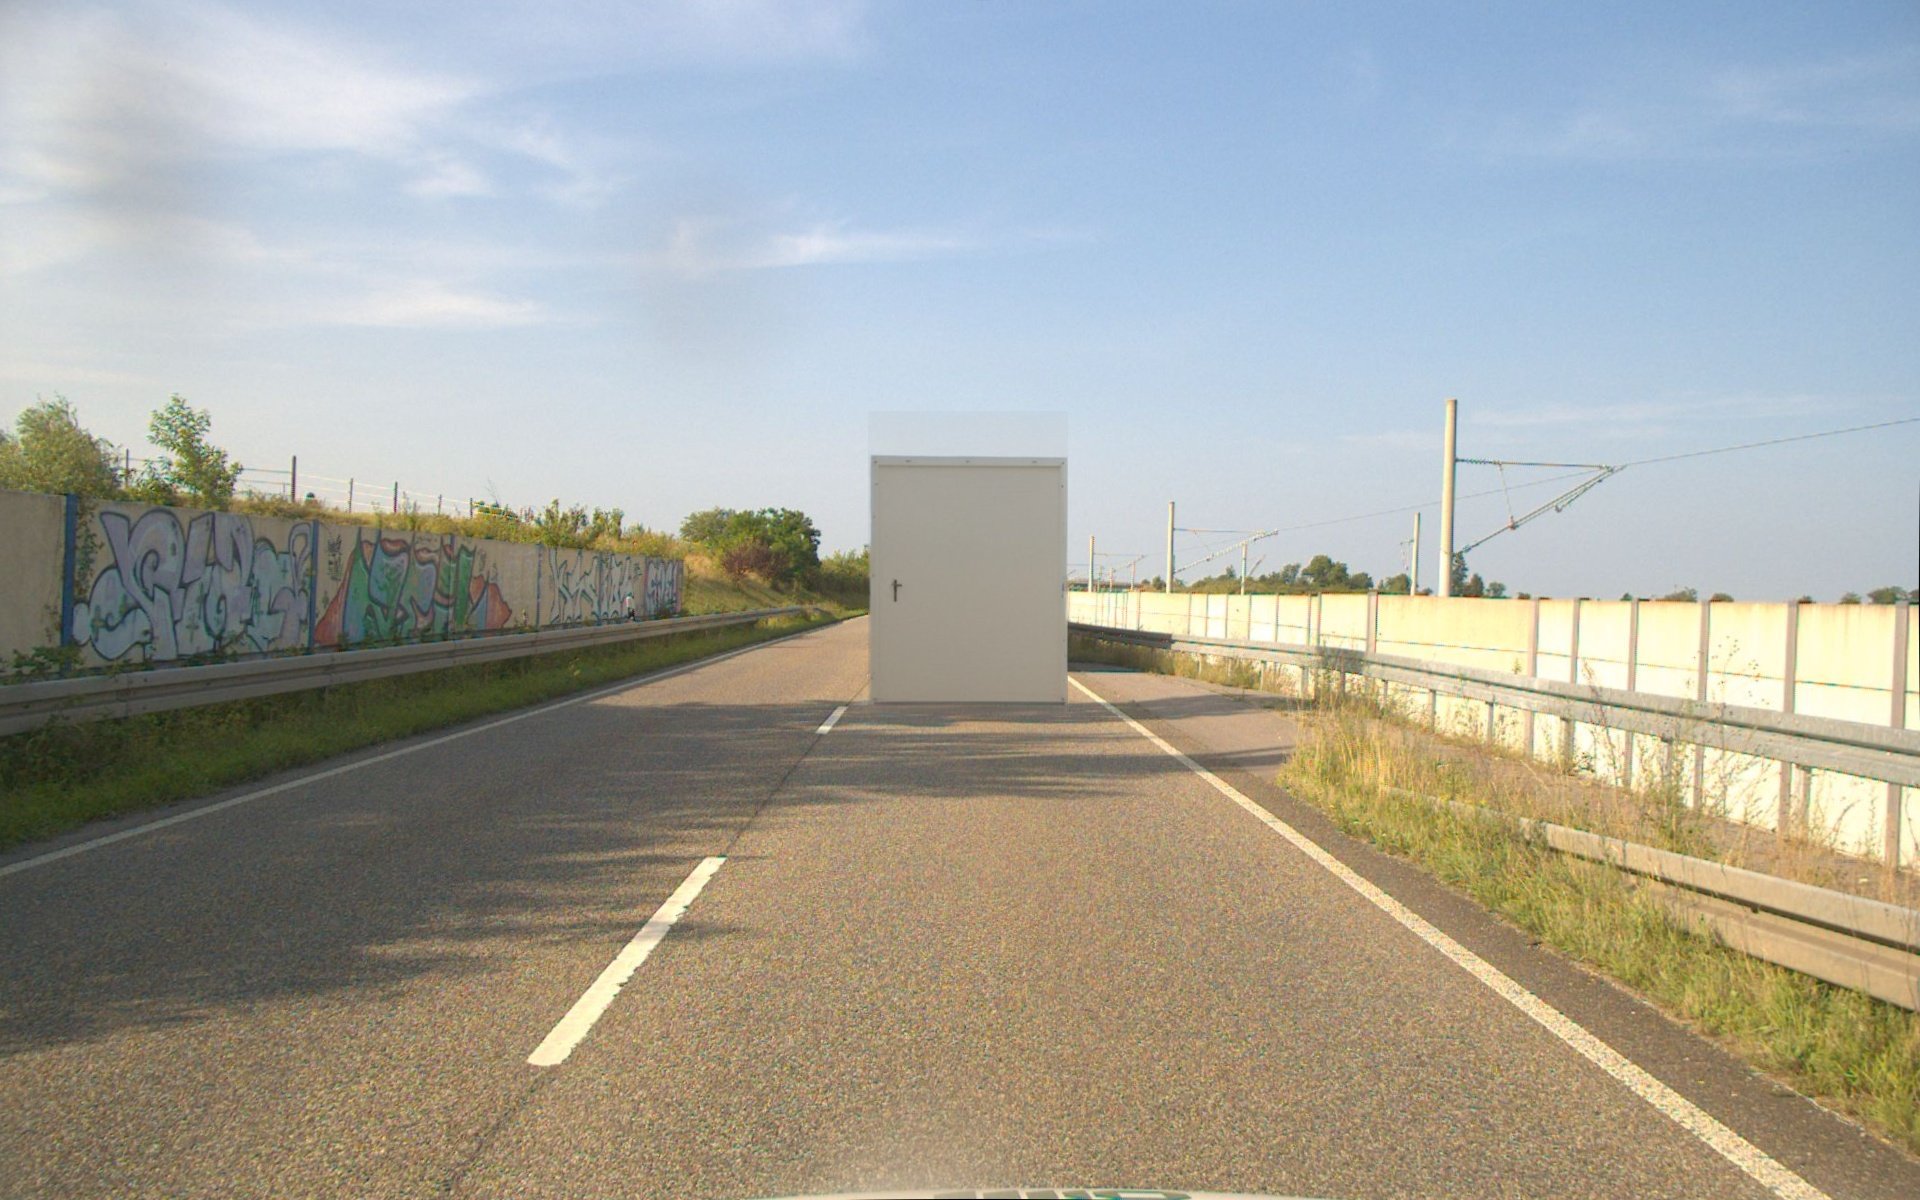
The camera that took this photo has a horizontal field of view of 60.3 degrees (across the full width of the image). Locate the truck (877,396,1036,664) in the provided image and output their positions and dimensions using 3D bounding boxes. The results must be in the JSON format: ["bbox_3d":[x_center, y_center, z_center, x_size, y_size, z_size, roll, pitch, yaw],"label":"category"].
[{"bbox_3d":[-0.211,-1.396,36.883,2.971,5.006,11.681,0,1,-1],"label":"truck"}]
